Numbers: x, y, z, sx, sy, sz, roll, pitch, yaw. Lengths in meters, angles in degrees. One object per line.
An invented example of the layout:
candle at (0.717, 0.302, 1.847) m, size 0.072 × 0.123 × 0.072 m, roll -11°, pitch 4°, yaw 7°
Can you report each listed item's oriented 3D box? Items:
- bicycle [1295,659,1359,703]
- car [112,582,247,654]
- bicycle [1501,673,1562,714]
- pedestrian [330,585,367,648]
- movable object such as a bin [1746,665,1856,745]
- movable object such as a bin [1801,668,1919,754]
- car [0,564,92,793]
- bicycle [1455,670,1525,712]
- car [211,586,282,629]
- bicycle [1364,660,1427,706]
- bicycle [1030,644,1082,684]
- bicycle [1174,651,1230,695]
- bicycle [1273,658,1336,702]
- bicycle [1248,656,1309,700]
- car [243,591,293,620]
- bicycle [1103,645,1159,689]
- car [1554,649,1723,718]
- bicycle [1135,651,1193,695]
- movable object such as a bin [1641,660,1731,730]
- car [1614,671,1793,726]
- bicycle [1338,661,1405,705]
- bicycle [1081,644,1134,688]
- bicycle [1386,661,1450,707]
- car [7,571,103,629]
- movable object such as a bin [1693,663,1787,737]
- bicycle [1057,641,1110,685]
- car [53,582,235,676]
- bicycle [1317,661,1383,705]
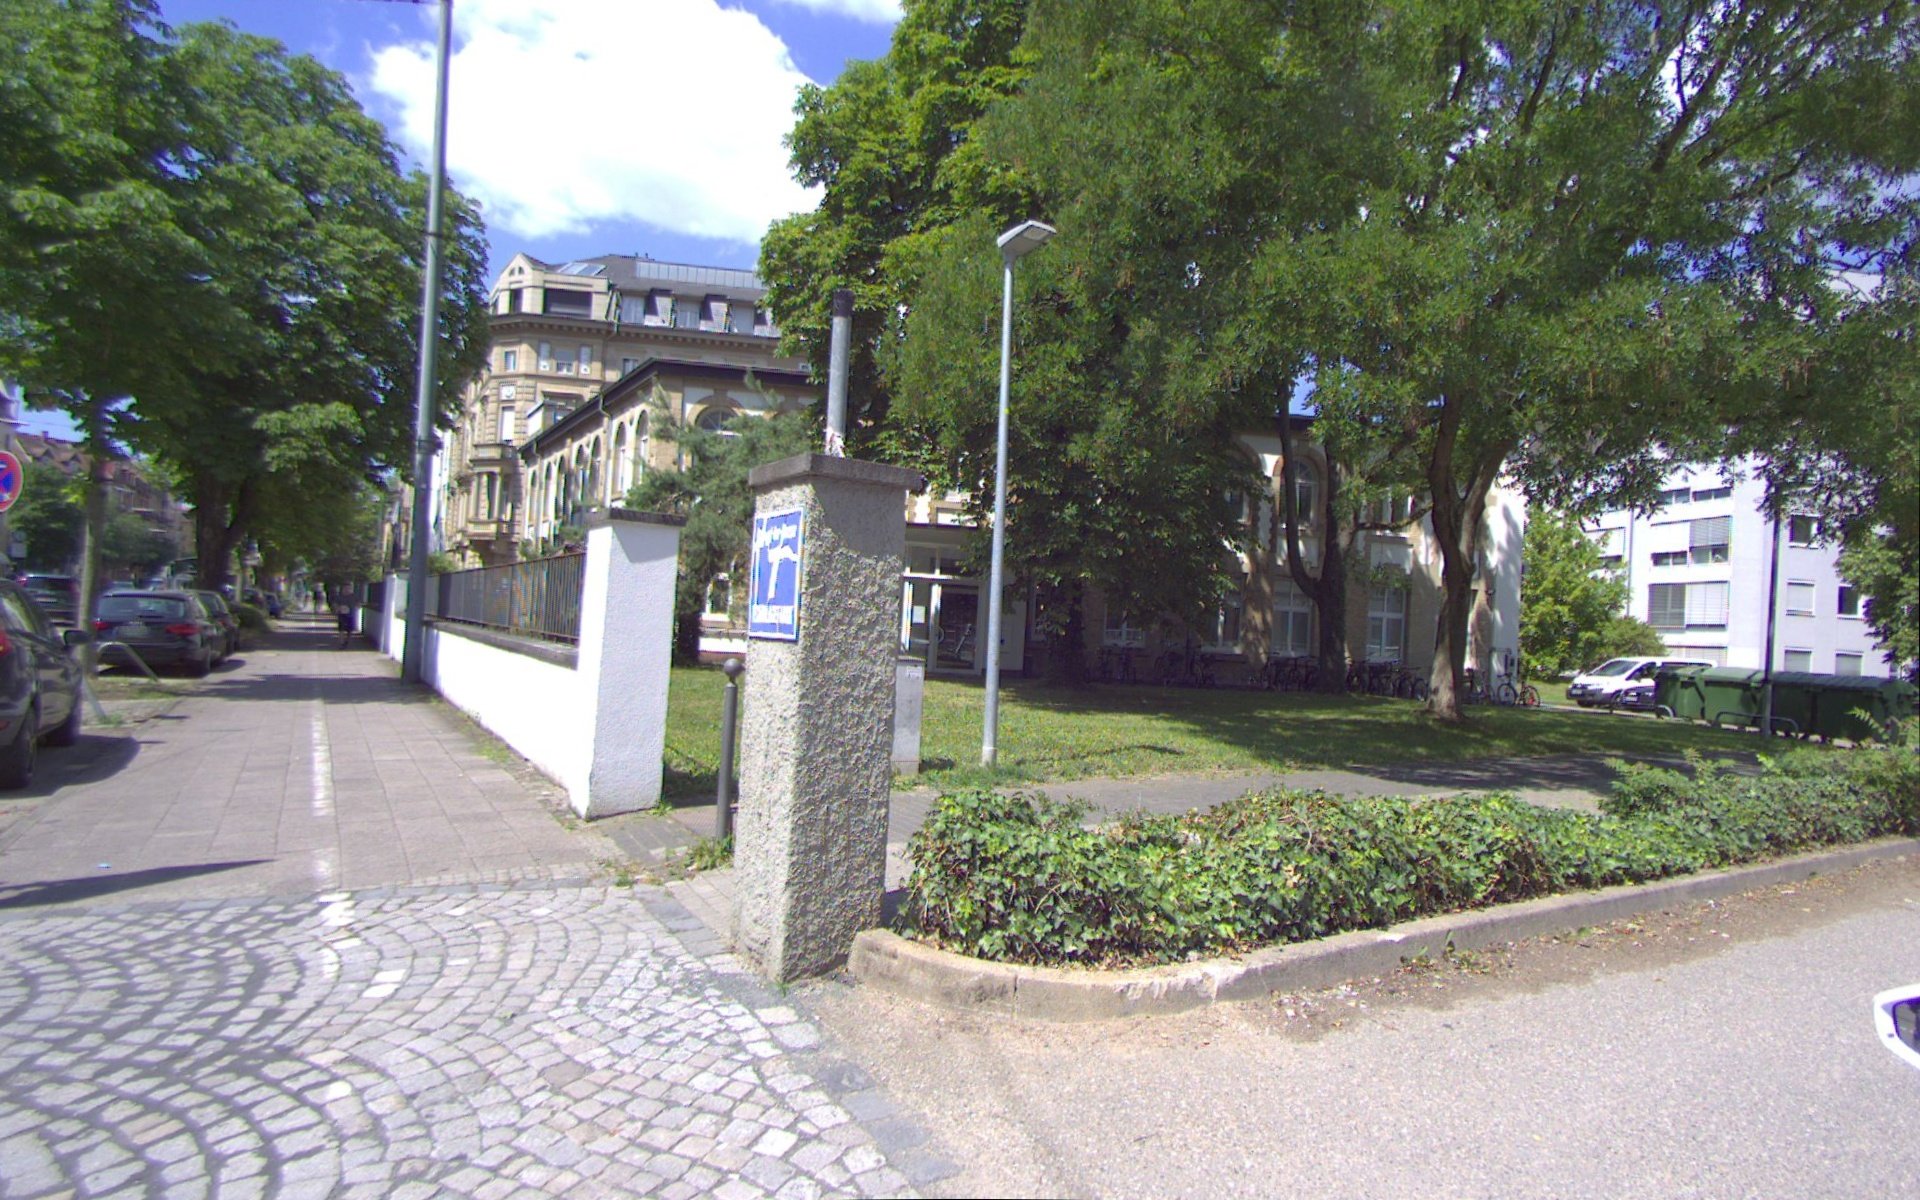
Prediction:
bicycle at (10.000, 2.202, 27.468) m, size 0.596 × 1.024 × 2.256 m, roll 3°, pitch -1°, yaw -9°
car at (-17.842, 0.388, 23.150) m, size 1.930 × 1.462 × 3.742 m, roll 3°, pitch -1°, yaw -31°
bicycle at (16.004, 2.608, 28.179) m, size 0.602 × 0.971 × 1.729 m, roll 3°, pitch -1°, yaw -3°
pedestrian at (-15.801, 0.419, 25.966) m, size 0.691 × 1.588 × 0.737 m, roll 4°, pitch -2°, yaw -35°
movable object such as a bin at (17.377, 2.160, 20.785) m, size 1.079 × 1.499 × 1.356 m, roll 3°, pitch -1°, yaw -16°
movable object such as a bin at (17.453, 2.132, 19.443) m, size 1.186 × 1.499 × 1.323 m, roll 3°, pitch -1°, yaw -8°
car at (-7.767, 0.484, 7.543) m, size 1.574 × 1.476 × 3.687 m, roll 1°, pitch -1°, yaw -36°
bicycle at (14.738, 2.521, 27.989) m, size 0.596 × 0.971 × 2.259 m, roll 3°, pitch -1°, yaw -3°
car at (-29.666, 0.310, 41.859) m, size 1.707 × 1.635 × 3.973 m, roll 3°, pitch -1°, yaw -26°
bicycle at (12.021, 2.261, 27.813) m, size 0.596 × 1.096 × 2.259 m, roll 3°, pitch -1°, yaw -3°
bicycle at (2.511, 1.669, 26.433) m, size 0.644 × 0.901 × 2.254 m, roll 4°, pitch -1°, yaw -13°
bicycle at (6.507, 1.952, 27.138) m, size 0.596 × 1.024 × 2.256 m, roll 3°, pitch -1°, yaw -9°
bicycle at (9.367, 2.161, 27.391) m, size 0.596 × 1.024 × 2.256 m, roll 3°, pitch -1°, yaw -9°
bicycle at (8.629, 2.099, 27.296) m, size 0.596 × 1.024 × 2.256 m, roll 3°, pitch -1°, yaw -9°
car at (-39.824, 0.312, 57.879) m, size 1.789 × 1.498 × 3.972 m, roll 3°, pitch -1°, yaw -27°
bicycle at (4.560, 1.774, 26.956) m, size 0.597 × 1.024 × 2.254 m, roll 4°, pitch -1°, yaw -13°
car at (23.752, 2.898, 35.257) m, size 4.685 × 2.040 × 1.999 m, roll 4°, pitch -2°, yaw -6°
bicycle at (5.471, 1.937, 27.073) m, size 0.597 × 1.024 × 2.254 m, roll 4°, pitch -1°, yaw -13°
movable object such as a bin at (17.074, 2.213, 23.662) m, size 1.028 × 1.499 × 1.409 m, roll 3°, pitch -1°, yaw -5°
car at (23.762, 3.150, 32.181) m, size 4.540 × 1.370 × 1.832 m, roll 4°, pitch -1°, yaw -5°
bicycle at (11.287, 2.260, 27.659) m, size 0.596 × 1.024 × 2.256 m, roll 3°, pitch -1°, yaw -9°
bicycle at (3.911, 1.741, 26.834) m, size 0.560 × 1.024 × 2.254 m, roll 4°, pitch -1°, yaw -13°
bicycle at (12.650, 2.302, 27.830) m, size 0.596 × 1.096 × 2.259 m, roll 3°, pitch -1°, yaw -3°
car at (-29.410, 0.015, 32.756) m, size 1.590 × 1.673 × 3.963 m, roll 5°, pitch -3°, yaw -33°
movable object such as a bin at (17.204, 2.184, 22.176) m, size 1.028 × 1.499 × 1.261 m, roll 3°, pitch -1°, yaw -5°
bicycle at (3.269, 1.651, 26.765) m, size 0.622 × 1.025 × 2.254 m, roll 4°, pitch -1°, yaw -13°
car at (-14.292, 0.483, 17.846) m, size 1.863 × 1.437 × 4.116 m, roll 3°, pitch -1°, yaw -31°
bicycle at (10.655, 2.245, 27.527) m, size 0.596 × 1.024 × 2.256 m, roll 3°, pitch -1°, yaw -9°
